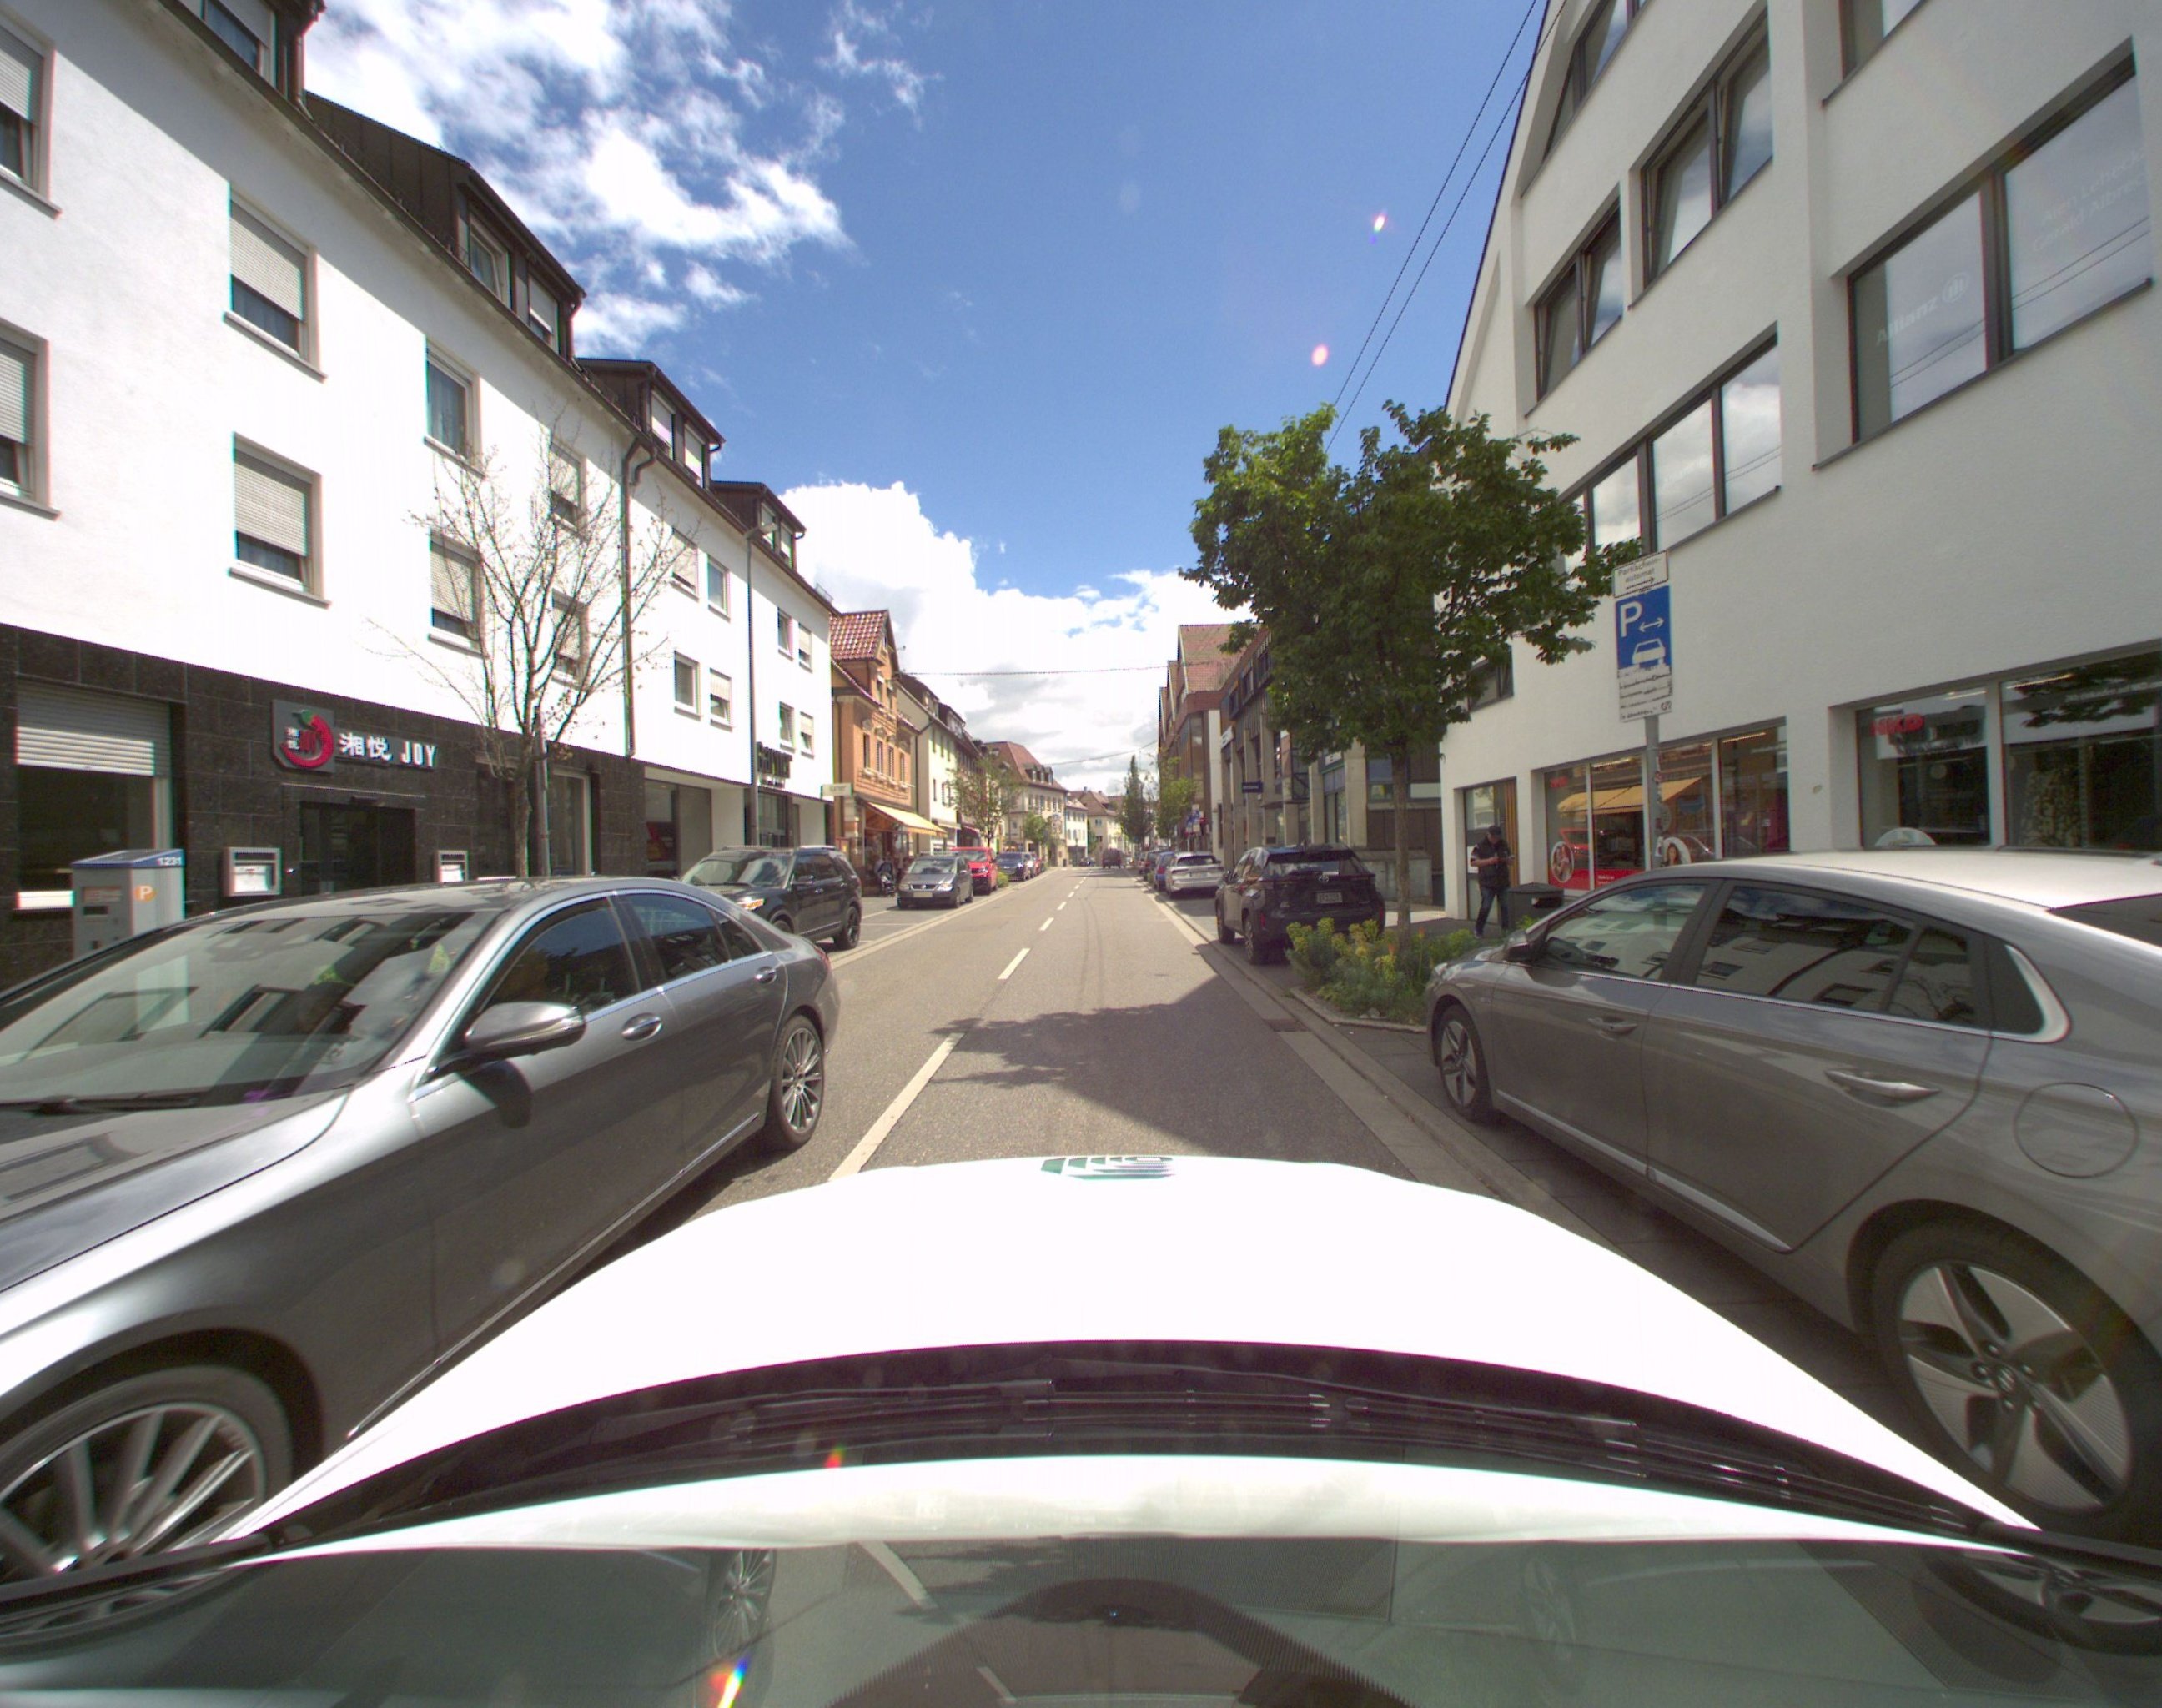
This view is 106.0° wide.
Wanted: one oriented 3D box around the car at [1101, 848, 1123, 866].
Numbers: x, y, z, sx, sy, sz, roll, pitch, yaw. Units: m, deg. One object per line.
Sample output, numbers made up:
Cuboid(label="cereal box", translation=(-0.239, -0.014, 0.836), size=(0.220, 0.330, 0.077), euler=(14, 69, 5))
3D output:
Cuboid(label="car", translation=(3.151, 0.302, 84.087), size=(2.034, 1.848, 4.997), euler=(0, -1, -1))

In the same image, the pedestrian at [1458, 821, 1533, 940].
Cuboid(label="pedestrian", translation=(6.209, 0.388, 12.229), size=(0.738, 1.737, 0.757), euler=(0, -1, 2))

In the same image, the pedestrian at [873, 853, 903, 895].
Cuboid(label="pedestrian", translation=(-7.375, 0.763, 31.128), size=(0.798, 1.574, 0.784), euler=(-1, -1, 25))

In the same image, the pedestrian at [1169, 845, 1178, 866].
Cuboid(label="pedestrian", translation=(7.984, 0.109, 70.173), size=(0.734, 1.814, 0.712), euler=(0, -1, 2))

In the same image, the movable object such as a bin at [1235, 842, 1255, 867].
Cuboid(label="movable object such as a bin", translation=(10.345, 0.050, 51.488), size=(1.137, 1.528, 1.033), euler=(0, -1, 4))

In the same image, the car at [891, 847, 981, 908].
Cuboid(label="car", translation=(-4.464, 0.702, 25.757), size=(1.808, 1.755, 4.467), euler=(0, -1, 3))

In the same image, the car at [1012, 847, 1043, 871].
Cuboid(label="car", translation=(-3.721, 0.325, 57.176), size=(1.793, 1.604, 4.218), euler=(-2, 0, 0))

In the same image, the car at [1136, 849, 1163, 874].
Cuboid(label="car", translation=(4.588, 0.459, 54.939), size=(1.603, 1.495, 3.798), euler=(-5, 0, 3))

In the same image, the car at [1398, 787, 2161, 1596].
Cuboid(label="car", translation=(2.872, 0.631, 3.120), size=(1.715, 1.476, 4.355), euler=(0, -1, 1))

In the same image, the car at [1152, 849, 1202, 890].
Cuboid(label="car", translation=(3.730, 0.601, 32.256), size=(1.714, 1.494, 4.112), euler=(0, -1, 3))

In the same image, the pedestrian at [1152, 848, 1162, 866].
Cuboid(label="pedestrian", translation=(6.800, 0.264, 72.788), size=(0.781, 1.615, 0.800), euler=(0, -1, 2))

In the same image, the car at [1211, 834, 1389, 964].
Cuboid(label="car", translation=(2.997, 0.572, 11.997), size=(1.714, 1.577, 4.112), euler=(0, -1, 3))

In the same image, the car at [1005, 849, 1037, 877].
Cuboid(label="car", translation=(-3.775, 0.539, 51.719), size=(1.794, 1.604, 4.349), euler=(-2, 0, -1))

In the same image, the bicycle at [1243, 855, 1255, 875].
Cuboid(label="bicycle", translation=(9.179, 0.604, 44.623), size=(0.423, 1.119, 1.742), euler=(0, -1, 4))

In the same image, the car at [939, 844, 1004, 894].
Cuboid(label="car", translation=(-4.366, 0.582, 33.247), size=(1.809, 1.889, 4.843), euler=(0, -1, 2))

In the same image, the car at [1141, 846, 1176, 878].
Cuboid(label="car", translation=(4.050, 0.403, 42.843), size=(1.603, 1.532, 3.798), euler=(-3, 0, 3))

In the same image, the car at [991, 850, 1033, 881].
Cuboid(label="car", translation=(-3.834, 0.604, 45.958), size=(1.792, 1.598, 4.391), euler=(-1, 0, 2))

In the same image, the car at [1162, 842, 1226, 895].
Cuboid(label="car", translation=(3.611, 0.466, 26.731), size=(1.714, 1.577, 4.432), euler=(0, -1, 3))

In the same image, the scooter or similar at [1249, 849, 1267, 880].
Cuboid(label="scooter or similar", translation=(7.180, 0.428, 33.094), size=(0.420, 1.246, 1.562), euler=(0, -1, 2))

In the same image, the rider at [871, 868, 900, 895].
Cuboid(label="rider", translation=(-7.308, 1.020, 30.490), size=(0.796, 1.013, 0.710), euler=(0, -1, 23))

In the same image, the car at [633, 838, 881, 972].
Cuboid(label="car", translation=(-4.868, 0.696, 13.111), size=(1.808, 1.755, 4.674), euler=(0, -1, 4))

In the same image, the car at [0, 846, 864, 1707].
Cuboid(label="car", translation=(-2.453, 0.787, 2.994), size=(1.898, 1.563, 4.649), euler=(0, 1, 2))

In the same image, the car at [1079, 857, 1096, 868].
Cuboid(label="car", translation=(0.968, 1.199, 114.427), size=(1.613, 1.486, 3.819), euler=(0, -1, 13))

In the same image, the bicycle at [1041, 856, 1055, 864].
Cuboid(label="bicycle", translation=(-4.124, 0.794, 101.834), size=(1.619, 1.031, 0.570), euler=(0, -1, 17))
